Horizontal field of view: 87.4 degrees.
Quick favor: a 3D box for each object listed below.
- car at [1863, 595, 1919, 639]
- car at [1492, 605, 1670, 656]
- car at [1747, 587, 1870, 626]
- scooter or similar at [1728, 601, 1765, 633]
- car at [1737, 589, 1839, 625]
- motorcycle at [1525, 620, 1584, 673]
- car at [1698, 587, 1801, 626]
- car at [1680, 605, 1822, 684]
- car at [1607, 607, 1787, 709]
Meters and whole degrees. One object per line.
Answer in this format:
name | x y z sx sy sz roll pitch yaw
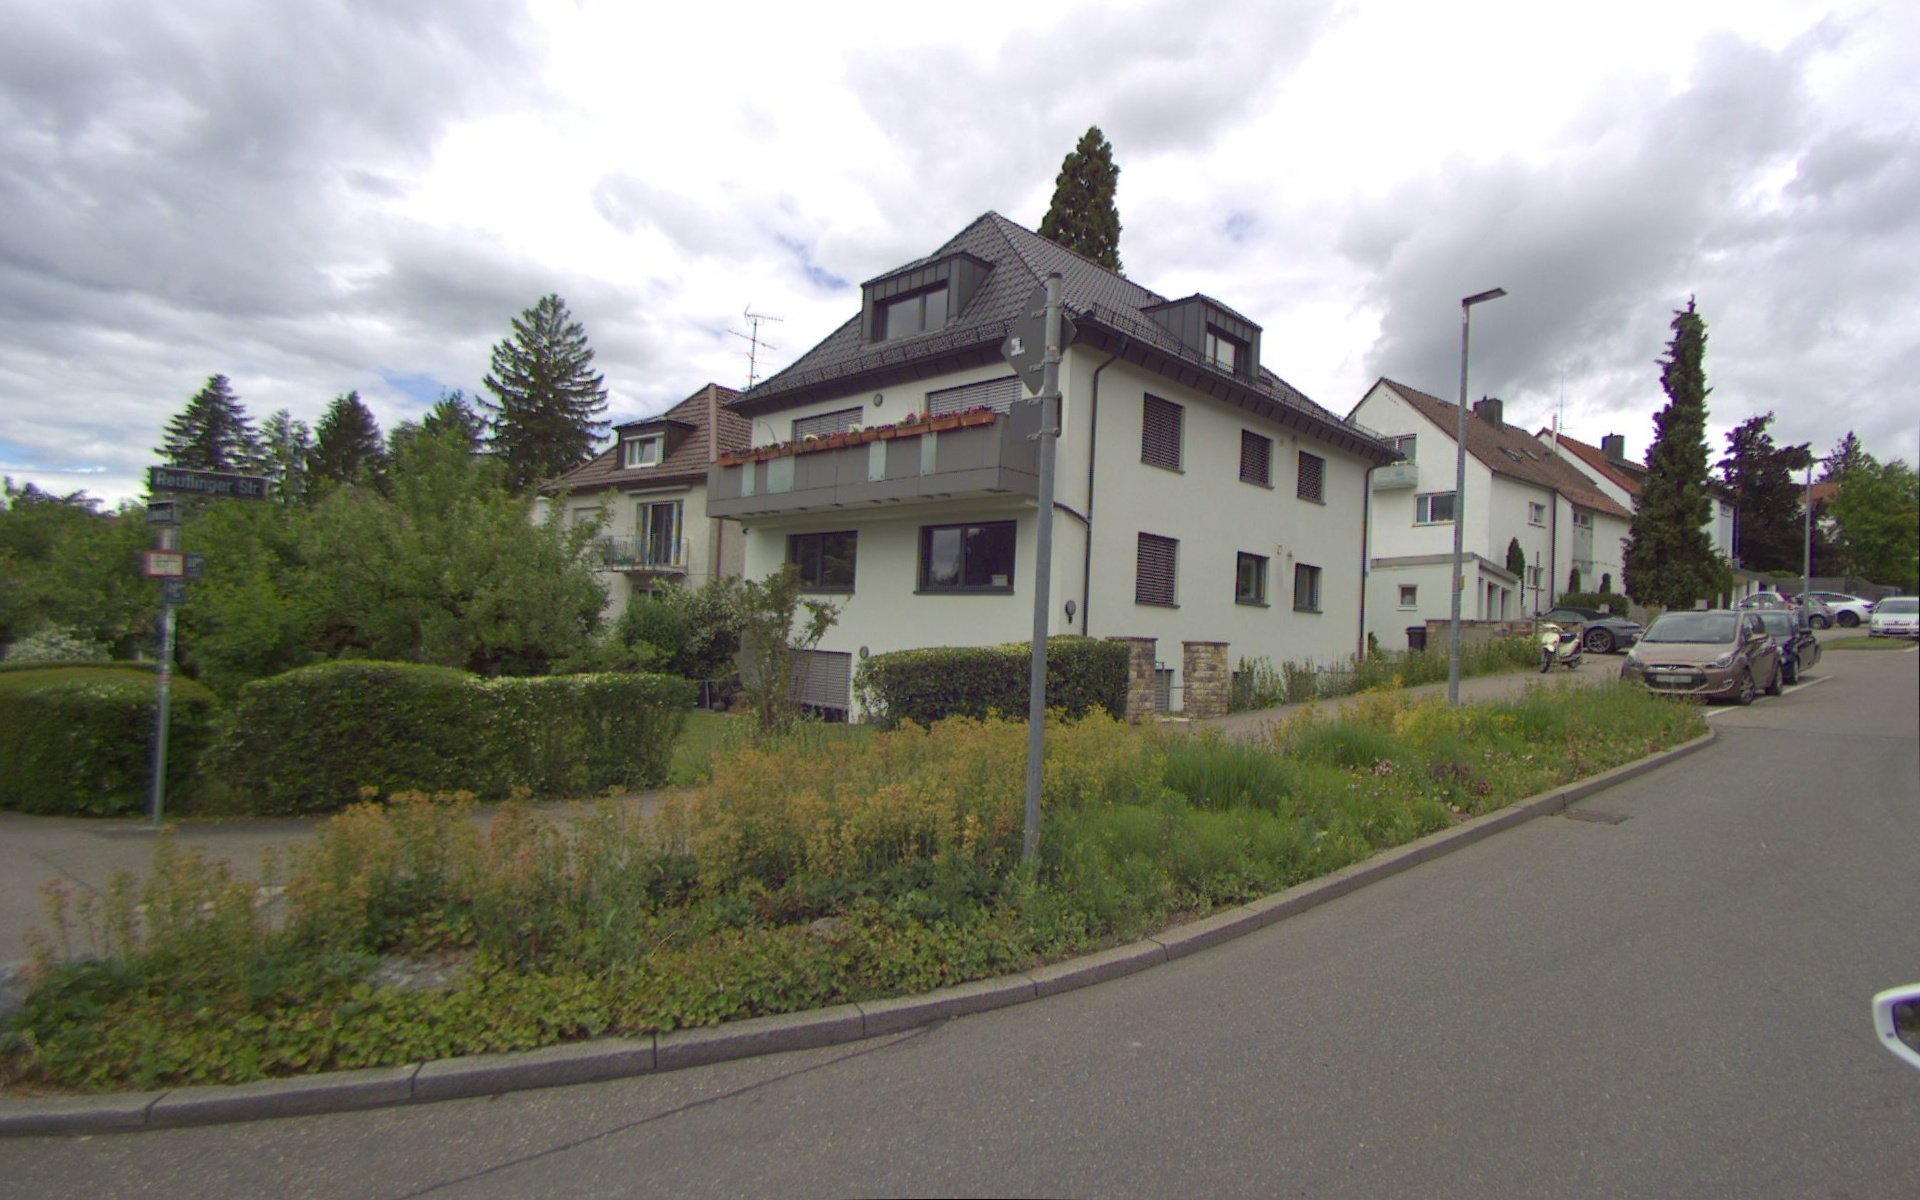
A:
car | 35.395 0.614 37.767 3.825 1.584 1.745 -1 0 -42
car | 18.454 0.859 29.942 4.241 1.386 1.893 0 1 44
car | 41.946 0.277 49.719 1.896 1.651 4.371 0 3 -41
scooter or similar | 29.514 0.643 37.692 1.435 1.164 0.473 0 2 -26
car | 39.062 0.316 47.438 1.678 1.532 3.400 1 2 -39
motorcycle | 13.832 1.066 23.347 1.843 1.176 0.427 1 -1 -34
car | 36.216 0.296 46.121 1.643 1.599 3.400 1 2 -39
car | 17.373 0.894 22.033 3.479 1.557 1.861 0 0 -41
car | 13.377 0.947 18.167 3.841 1.606 1.861 0 0 -41
